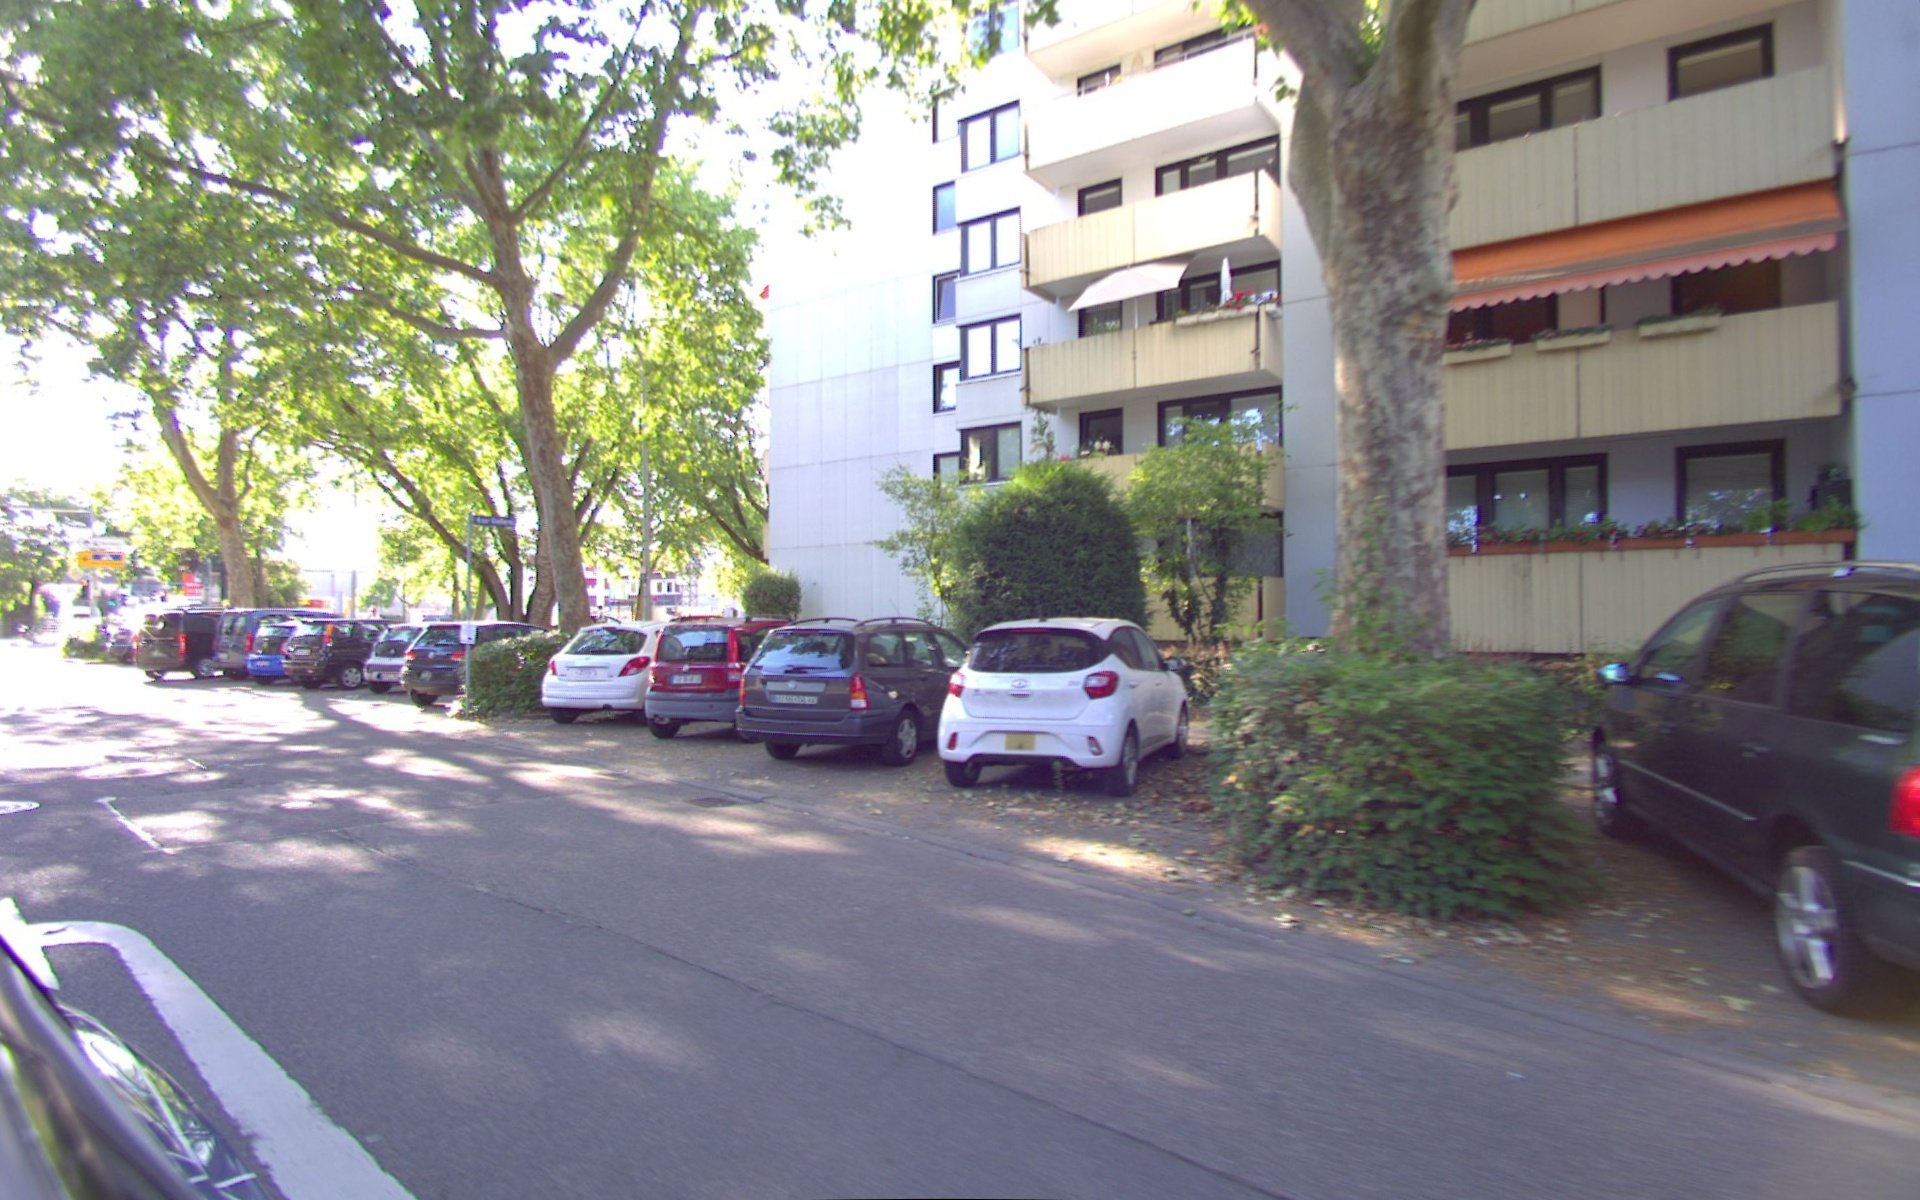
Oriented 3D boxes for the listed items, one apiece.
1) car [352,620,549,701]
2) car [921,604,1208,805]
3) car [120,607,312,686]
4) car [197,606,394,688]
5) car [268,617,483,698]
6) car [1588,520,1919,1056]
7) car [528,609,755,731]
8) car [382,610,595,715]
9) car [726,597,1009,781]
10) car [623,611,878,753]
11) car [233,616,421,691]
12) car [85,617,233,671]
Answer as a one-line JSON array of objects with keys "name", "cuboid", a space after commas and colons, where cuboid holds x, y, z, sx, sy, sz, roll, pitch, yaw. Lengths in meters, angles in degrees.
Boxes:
[{"name": "car", "cuboid": [-10.869, 1.233, 21.864, 1.693, 1.472, 3.625, -1, 0, 21]}, {"name": "car", "cuboid": [1.209, 0.853, 9.952, 1.765, 1.505, 3.632, -2, 0, 23]}, {"name": "car", "cuboid": [-19.932, 1.178, 27.328, 1.701, 1.900, 3.981, -1, 0, 15]}, {"name": "car", "cuboid": [-17.269, 1.143, 26.510, 1.824, 1.896, 3.966, -1, 0, 25]}, {"name": "car", "cuboid": [-13.257, 1.229, 23.209, 1.789, 1.637, 3.963, -1, 0, 27]}, {"name": "car", "cuboid": [4.636, 0.594, 4.746, 1.891, 1.788, 4.244, -1, 0, 18]}, {"name": "car", "cuboid": [-4.757, 0.976, 15.675, 1.693, 1.572, 3.633, -1, 0, 14]}, {"name": "car", "cuboid": [-8.600, 1.076, 18.823, 1.635, 1.674, 3.632, -1, 0, 15]}, {"name": "car", "cuboid": [-0.859, 0.832, 11.415, 1.640, 1.674, 3.621, -1, 0, 23]}, {"name": "car", "cuboid": [-2.704, 0.993, 13.868, 1.640, 1.572, 3.621, -1, 0, 23]}, {"name": "car", "cuboid": [-15.217, 1.231, 24.522, 1.640, 1.572, 3.572, -1, 0, 23]}, {"name": "car", "cuboid": [-27.696, 1.465, 35.145, 1.696, 1.654, 3.992, -1, 0, 7]}]
